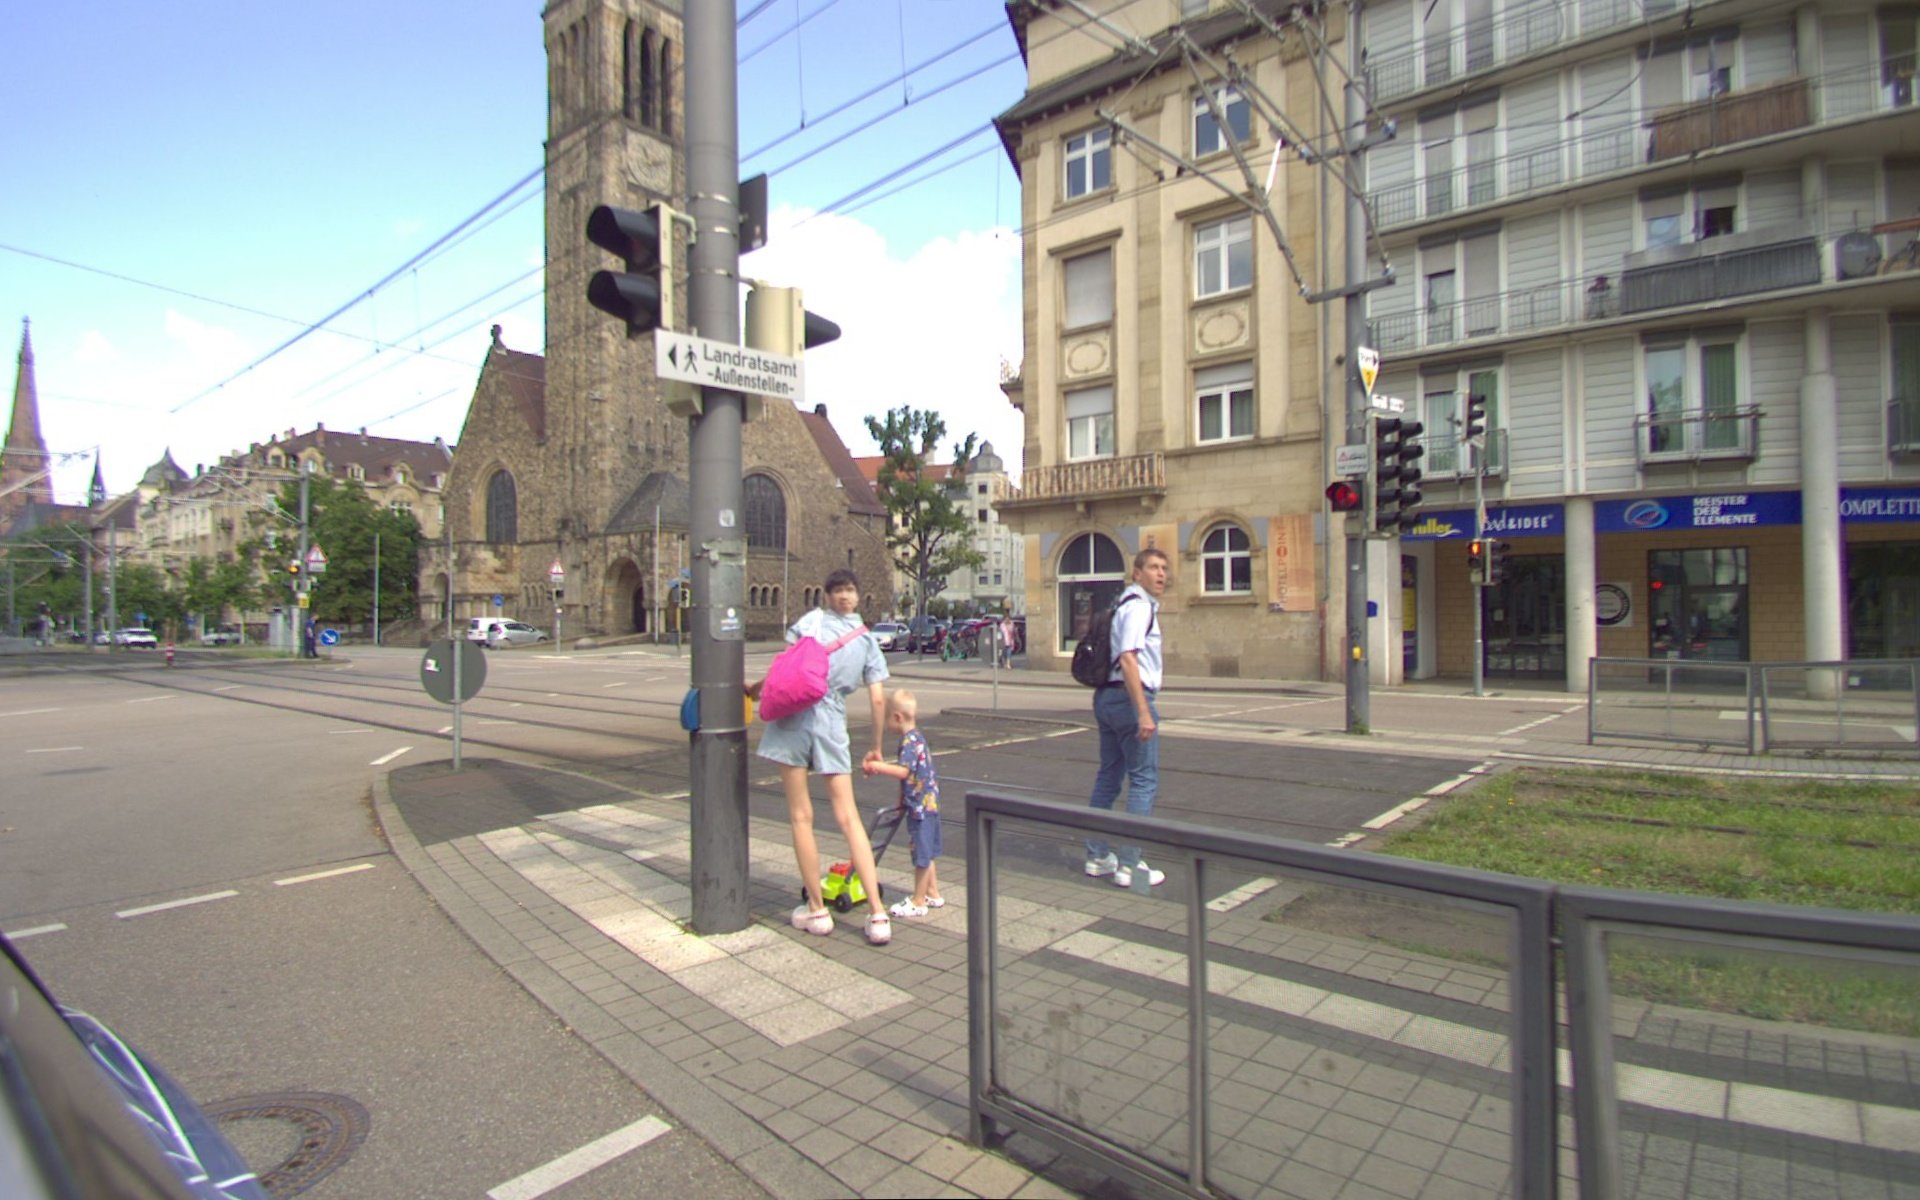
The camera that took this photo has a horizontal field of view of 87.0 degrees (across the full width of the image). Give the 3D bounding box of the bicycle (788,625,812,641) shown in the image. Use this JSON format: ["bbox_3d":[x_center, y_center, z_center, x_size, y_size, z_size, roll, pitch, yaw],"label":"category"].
[{"bbox_3d":[-11.953,2.449,75.472,1.936,1.120,0.579,2,1,37],"label":"bicycle"}]

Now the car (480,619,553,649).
[{"bbox_3d":[-26.696,2.078,61.003,1.815,1.691,3.592,-3,-4,36],"label":"car"}]

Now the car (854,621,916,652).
[{"bbox_3d":[-3.814,1.830,52.261,1.811,1.459,4.363,1,-1,16],"label":"car"}]

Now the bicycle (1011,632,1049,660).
[{"bbox_3d":[2.899,1.894,41.814,1.469,1.060,0.460,-3,-2,13],"label":"bicycle"}]

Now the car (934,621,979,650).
[{"bbox_3d":[-0.154,1.982,57.737,1.736,1.552,3.914,-1,-1,13],"label":"car"}]

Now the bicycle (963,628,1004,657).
[{"bbox_3d":[0.900,1.628,38.808,1.435,1.060,0.476,-4,-2,25],"label":"bicycle"}]

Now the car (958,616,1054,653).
[{"bbox_3d":[2.117,1.576,46.602,3.931,1.468,1.818,-3,-2,-23],"label":"car"}]

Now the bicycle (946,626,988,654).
[{"bbox_3d":[0.274,1.621,40.746,1.572,1.060,0.477,-3,-2,23],"label":"bicycle"}]

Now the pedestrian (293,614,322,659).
[{"bbox_3d":[-25.322,1.413,39.279,0.743,1.744,0.762,-2,-1,39],"label":"pedestrian"}]

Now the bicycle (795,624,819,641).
[{"bbox_3d":[-11.526,2.447,76.036,1.936,1.120,0.579,2,1,37],"label":"bicycle"}]

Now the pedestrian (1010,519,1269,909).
[{"bbox_3d":[0.940,0.534,5.325,1.044,1.794,0.840,-2,-1,40],"label":"pedestrian"}]

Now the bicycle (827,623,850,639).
[{"bbox_3d":[-9.450,2.435,78.619,1.936,1.120,0.579,2,1,37],"label":"bicycle"}]

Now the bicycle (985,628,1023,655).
[{"bbox_3d":[1.800,1.699,41.360,1.471,1.060,0.460,-3,-2,16],"label":"bicycle"}]

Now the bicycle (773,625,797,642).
[{"bbox_3d":[-12.849,2.453,74.197,1.936,1.120,0.579,2,1,37],"label":"bicycle"}]

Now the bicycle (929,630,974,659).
[{"bbox_3d":[-0.353,1.762,40.114,1.730,1.060,0.525,-4,-2,32],"label":"bicycle"}]

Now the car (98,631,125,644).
[{"bbox_3d":[-85.363,3.785,101.807,3.061,1.243,1.634,-2,-1,40],"label":"car"}]

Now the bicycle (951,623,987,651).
[{"bbox_3d":[0.383,1.518,41.424,1.359,1.060,0.416,-4,-2,14],"label":"bicycle"}]

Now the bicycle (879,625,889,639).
[{"bbox_3d":[-5.750,2.430,76.742,0.475,1.060,1.439,-1,-1,9],"label":"bicycle"}]

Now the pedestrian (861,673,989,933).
[{"bbox_3d":[-0.164,0.887,4.613,0.413,1.071,0.438,0,-1,-29],"label":"pedestrian"}]

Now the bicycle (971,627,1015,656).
[{"bbox_3d":[1.298,1.617,39.796,1.603,1.060,0.477,-3,-2,23],"label":"bicycle"}]

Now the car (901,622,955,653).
[{"bbox_3d":[-1.536,1.820,50.125,1.703,1.444,3.800,0,0,14],"label":"car"}]

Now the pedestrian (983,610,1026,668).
[{"bbox_3d":[1.295,1.126,29.498,0.936,1.607,0.991,-5,-2,16],"label":"pedestrian"}]

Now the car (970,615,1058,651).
[{"bbox_3d":[2.643,1.632,49.575,3.886,1.468,1.737,-3,-3,-26],"label":"car"}]

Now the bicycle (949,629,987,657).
[{"bbox_3d":[0.320,1.778,41.915,1.471,1.060,0.460,-3,-2,16],"label":"bicycle"}]

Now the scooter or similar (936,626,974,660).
[{"bbox_3d":[-0.190,1.546,36.293,1.249,1.155,0.476,-4,-2,33],"label":"scooter or similar"}]

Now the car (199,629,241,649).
[{"bbox_3d":[-57.301,3.019,78.346,3.834,1.506,1.766,-2,-1,40],"label":"car"}]

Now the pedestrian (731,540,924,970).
[{"bbox_3d":[-0.593,0.606,4.397,0.615,1.678,0.678,0,-1,-27],"label":"pedestrian"}]

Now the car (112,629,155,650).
[{"bbox_3d":[-62.014,2.952,75.888,4.127,1.517,1.796,-2,-1,40],"label":"car"}]

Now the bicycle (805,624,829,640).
[{"bbox_3d":[-10.821,2.442,76.733,1.936,1.120,0.579,2,1,37],"label":"bicycle"}]

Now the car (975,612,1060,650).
[{"bbox_3d":[2.989,1.587,52.351,3.886,1.702,1.808,-3,-3,-24],"label":"car"}]

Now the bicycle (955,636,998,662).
[{"bbox_3d":[0.732,2.110,43.666,1.782,1.060,0.559,-2,-2,-31],"label":"bicycle"}]

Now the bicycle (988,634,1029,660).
[{"bbox_3d":[2.077,2.006,43.148,1.616,1.060,0.555,-3,-2,14],"label":"bicycle"}]

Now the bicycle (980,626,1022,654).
[{"bbox_3d":[1.660,1.620,40.729,1.572,1.060,0.477,-3,-2,23],"label":"bicycle"}]

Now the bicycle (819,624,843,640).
[{"bbox_3d":[-9.953,2.438,78.005,1.936,1.120,0.579,2,1,37],"label":"bicycle"}]

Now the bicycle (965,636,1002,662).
[{"bbox_3d":[0.982,2.073,42.798,1.469,1.060,0.461,-3,-2,12],"label":"bicycle"}]

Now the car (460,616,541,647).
[{"bbox_3d":[-28.866,1.973,63.697,1.998,1.868,4.249,-3,-4,39],"label":"car"}]
